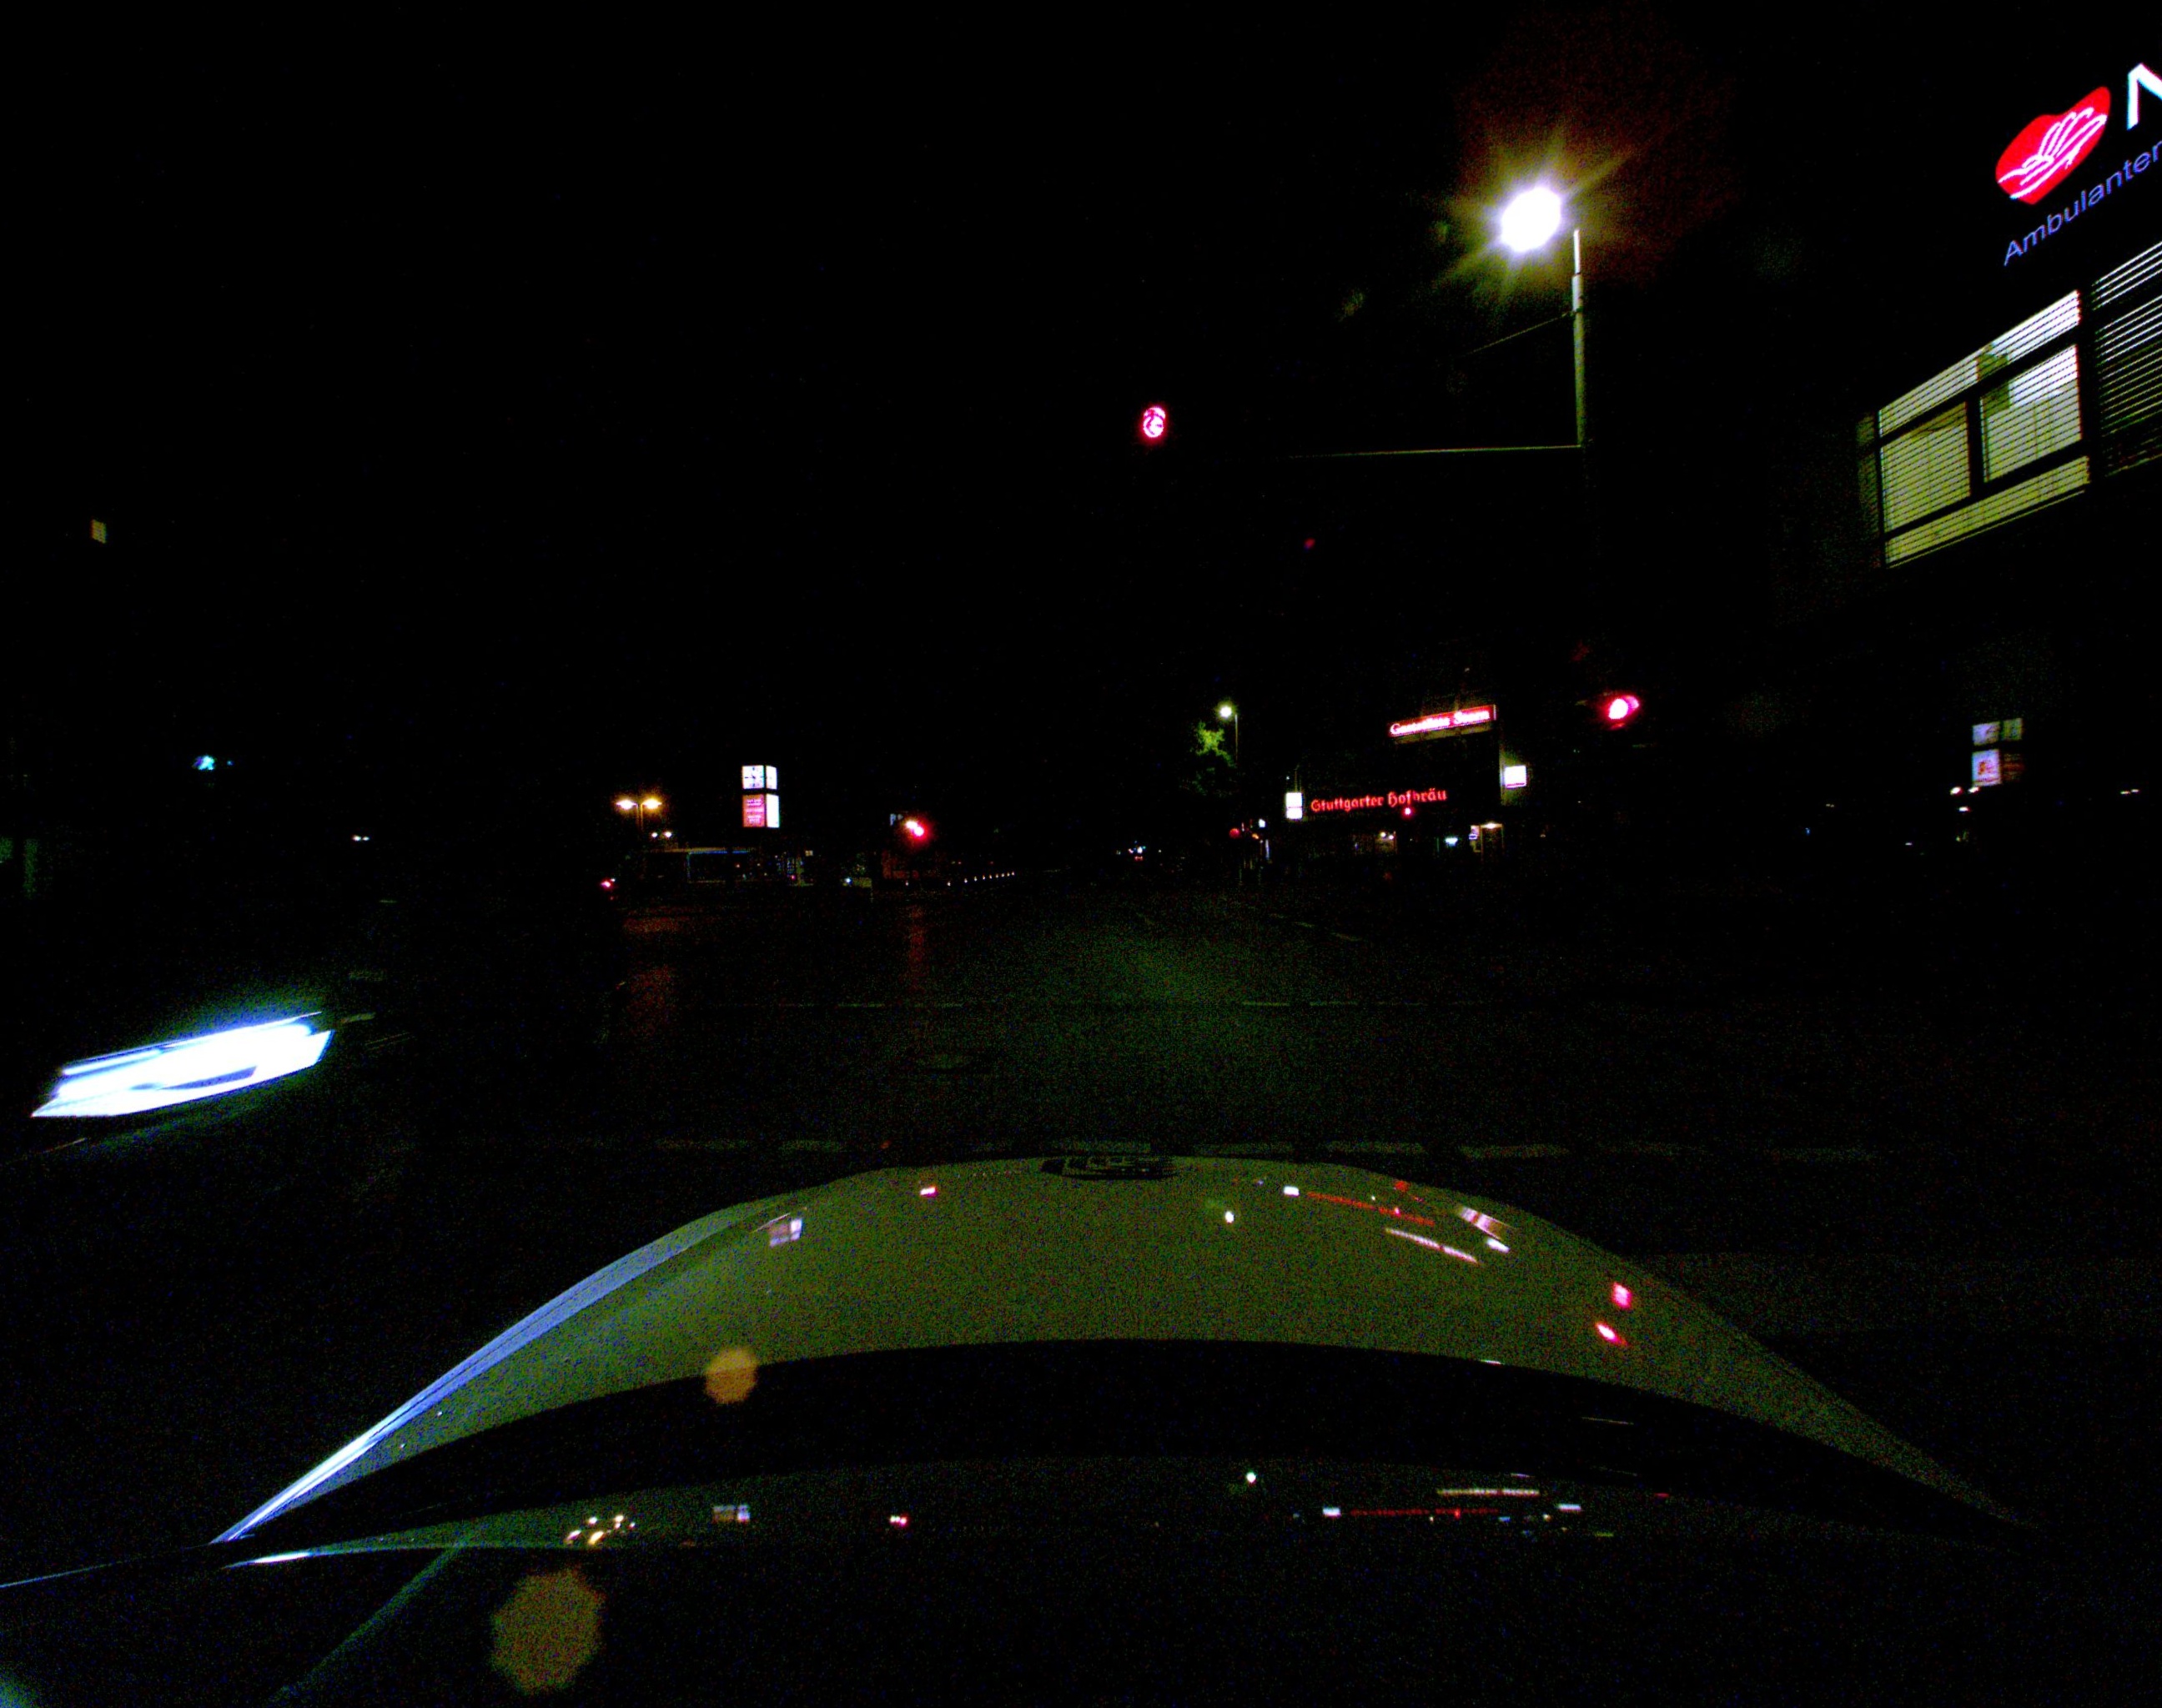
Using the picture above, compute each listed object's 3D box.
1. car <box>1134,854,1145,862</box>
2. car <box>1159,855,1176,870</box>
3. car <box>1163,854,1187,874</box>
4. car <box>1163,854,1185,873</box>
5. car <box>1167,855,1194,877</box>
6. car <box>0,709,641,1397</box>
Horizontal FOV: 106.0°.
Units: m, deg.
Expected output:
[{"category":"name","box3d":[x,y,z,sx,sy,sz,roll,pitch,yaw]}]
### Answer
[{"category":"car","box3d":[12.859,0.930,179.839,2.218,1.651,4.002,-1,0,2]},{"category":"car","box3d":[10.043,0.941,94.480,1.868,1.683,4.005,-2,-1,5]},{"category":"car","box3d":[7.884,0.835,68.769,1.868,1.615,4.005,-2,-1,5]},{"category":"car","box3d":[8.679,0.882,76.425,1.868,1.729,4.005,-2,-1,5]},{"category":"car","box3d":[7.751,0.950,63.610,1.868,1.615,4.005,-2,-1,5]},{"category":"car","box3d":[-4.102,0.590,4.422,1.971,1.871,4.884,-1,-1,-16]}]
